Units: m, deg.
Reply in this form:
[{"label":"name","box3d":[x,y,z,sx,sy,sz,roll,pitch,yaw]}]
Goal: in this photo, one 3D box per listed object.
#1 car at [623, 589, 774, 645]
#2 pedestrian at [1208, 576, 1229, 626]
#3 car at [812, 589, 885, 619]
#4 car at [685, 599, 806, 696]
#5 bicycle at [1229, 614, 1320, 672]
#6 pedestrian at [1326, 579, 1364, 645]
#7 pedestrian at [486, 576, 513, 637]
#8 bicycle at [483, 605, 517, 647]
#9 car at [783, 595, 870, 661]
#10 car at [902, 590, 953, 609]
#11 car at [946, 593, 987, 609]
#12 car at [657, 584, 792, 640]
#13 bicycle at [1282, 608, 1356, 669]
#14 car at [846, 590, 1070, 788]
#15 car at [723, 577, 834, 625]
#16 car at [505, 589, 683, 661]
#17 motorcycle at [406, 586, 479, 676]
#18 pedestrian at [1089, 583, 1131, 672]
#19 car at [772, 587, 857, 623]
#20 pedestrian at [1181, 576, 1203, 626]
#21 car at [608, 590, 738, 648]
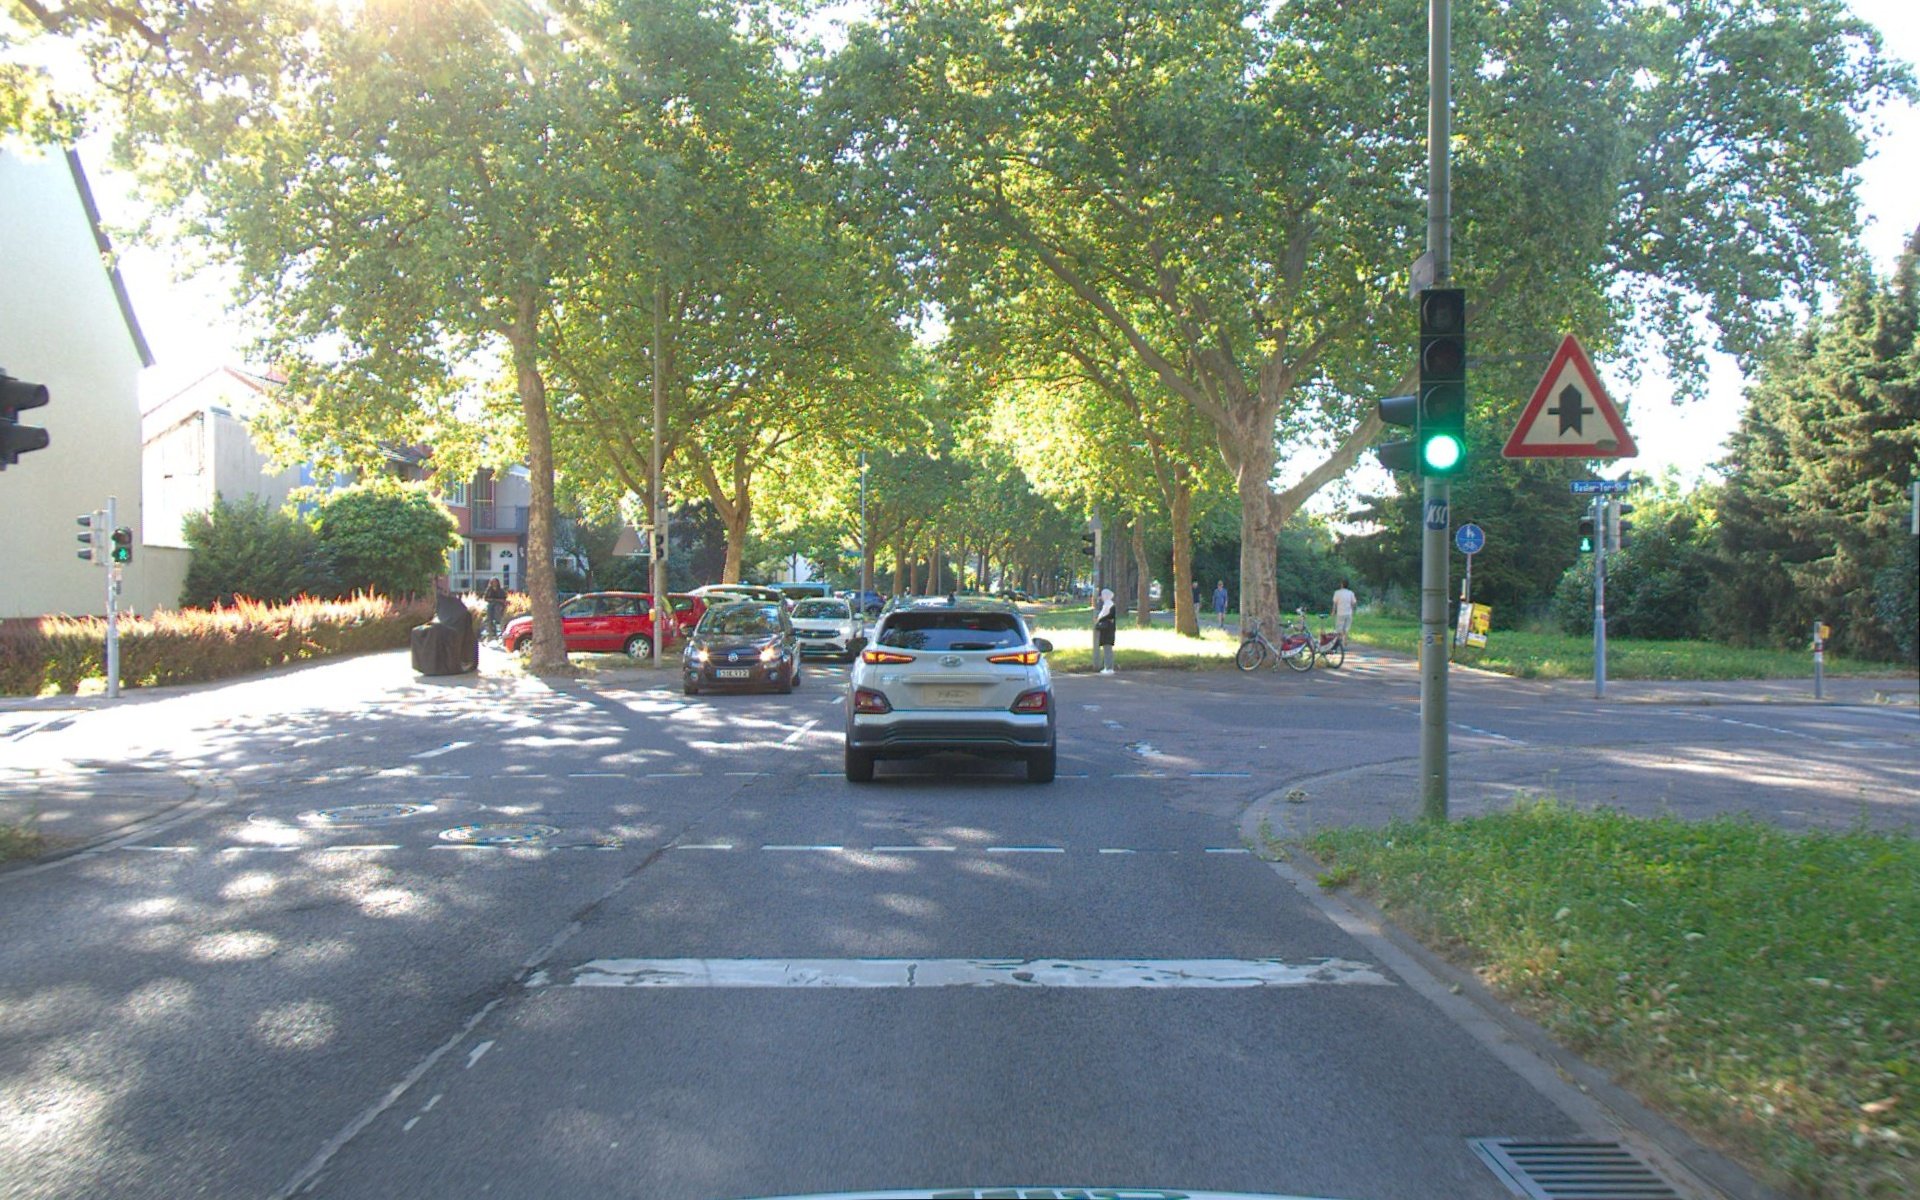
[{"label":"car","box3d":[-7.522,0.488,47.830,4.077,1.527,1.875,1,0,-1]},{"label":"pedestrian","box3d":[9.751,0.040,62.395,0.739,1.880,0.803,0,0,4]},{"label":"car","box3d":[-6.170,0.211,91.491,3.907,1.545,1.817,1,0,-1]},{"label":"car","box3d":[-3.516,0.732,27.720,1.692,1.489,4.066,0,0,-3]},{"label":"bicycle","box3d":[6.072,0.814,31.955,1.685,1.053,0.445,0,3,36]},{"label":"pedestrian","box3d":[9.950,0.298,42.748,0.763,1.678,0.939,-1,0,0]},{"label":"pedestrian","box3d":[-12.034,0.161,43.202,0.499,1.558,1.033,0,1,-6]},{"label":"bicycle","box3d":[-12.033,0.668,43.298,0.499,1.060,2.150,0,0,-5]},{"label":"car","box3d":[-3.191,0.640,40.253,1.681,1.527,4.094,0,0,1]},{"label":"car","box3d":[-2.534,-0.076,129.594,3.745,1.339,1.791,2,0,4]},{"label":"car","box3d":[0.647,0.116,167.056,4.096,1.612,2.001,1,0,2]},{"label":"car","box3d":[-7.461,0.373,52.756,4.007,1.746,1.832,0,0,0]},{"label":"bicycle","box3d":[7.122,0.740,32.859,0.438,1.101,1.997,-2,2,-19]},{"label":"car","box3d":[-0.066,0.721,15.277,1.798,1.583,3.999,0,0,-2]},{"label":"car","box3d":[-7.405,0.030,67.632,4.296,1.856,1.995,1,0,-1]},{"label":"car","box3d":[-8.340,0.561,37.907,3.688,1.561,1.831,1,0,-2]},{"label":"motorcycle","box3d":[-10.341,0.581,33.156,0.961,1.666,2.387,0,2,-7]},{"label":"pedestrian","box3d":[3.034,0.548,33.487,0.622,1.749,0.825,-2,0,-7]},{"label":"car","box3d":[-6.821,0.215,77.802,3.792,1.545,1.665,2,0,-1]},{"label":"pedestrian","box3d":[8.752,0.019,62.435,0.745,1.878,0.788,0,0,4]},{"label":"car","box3d":[-7.853,0.513,45.469,3.271,1.506,1.695,1,0,-1]}]
